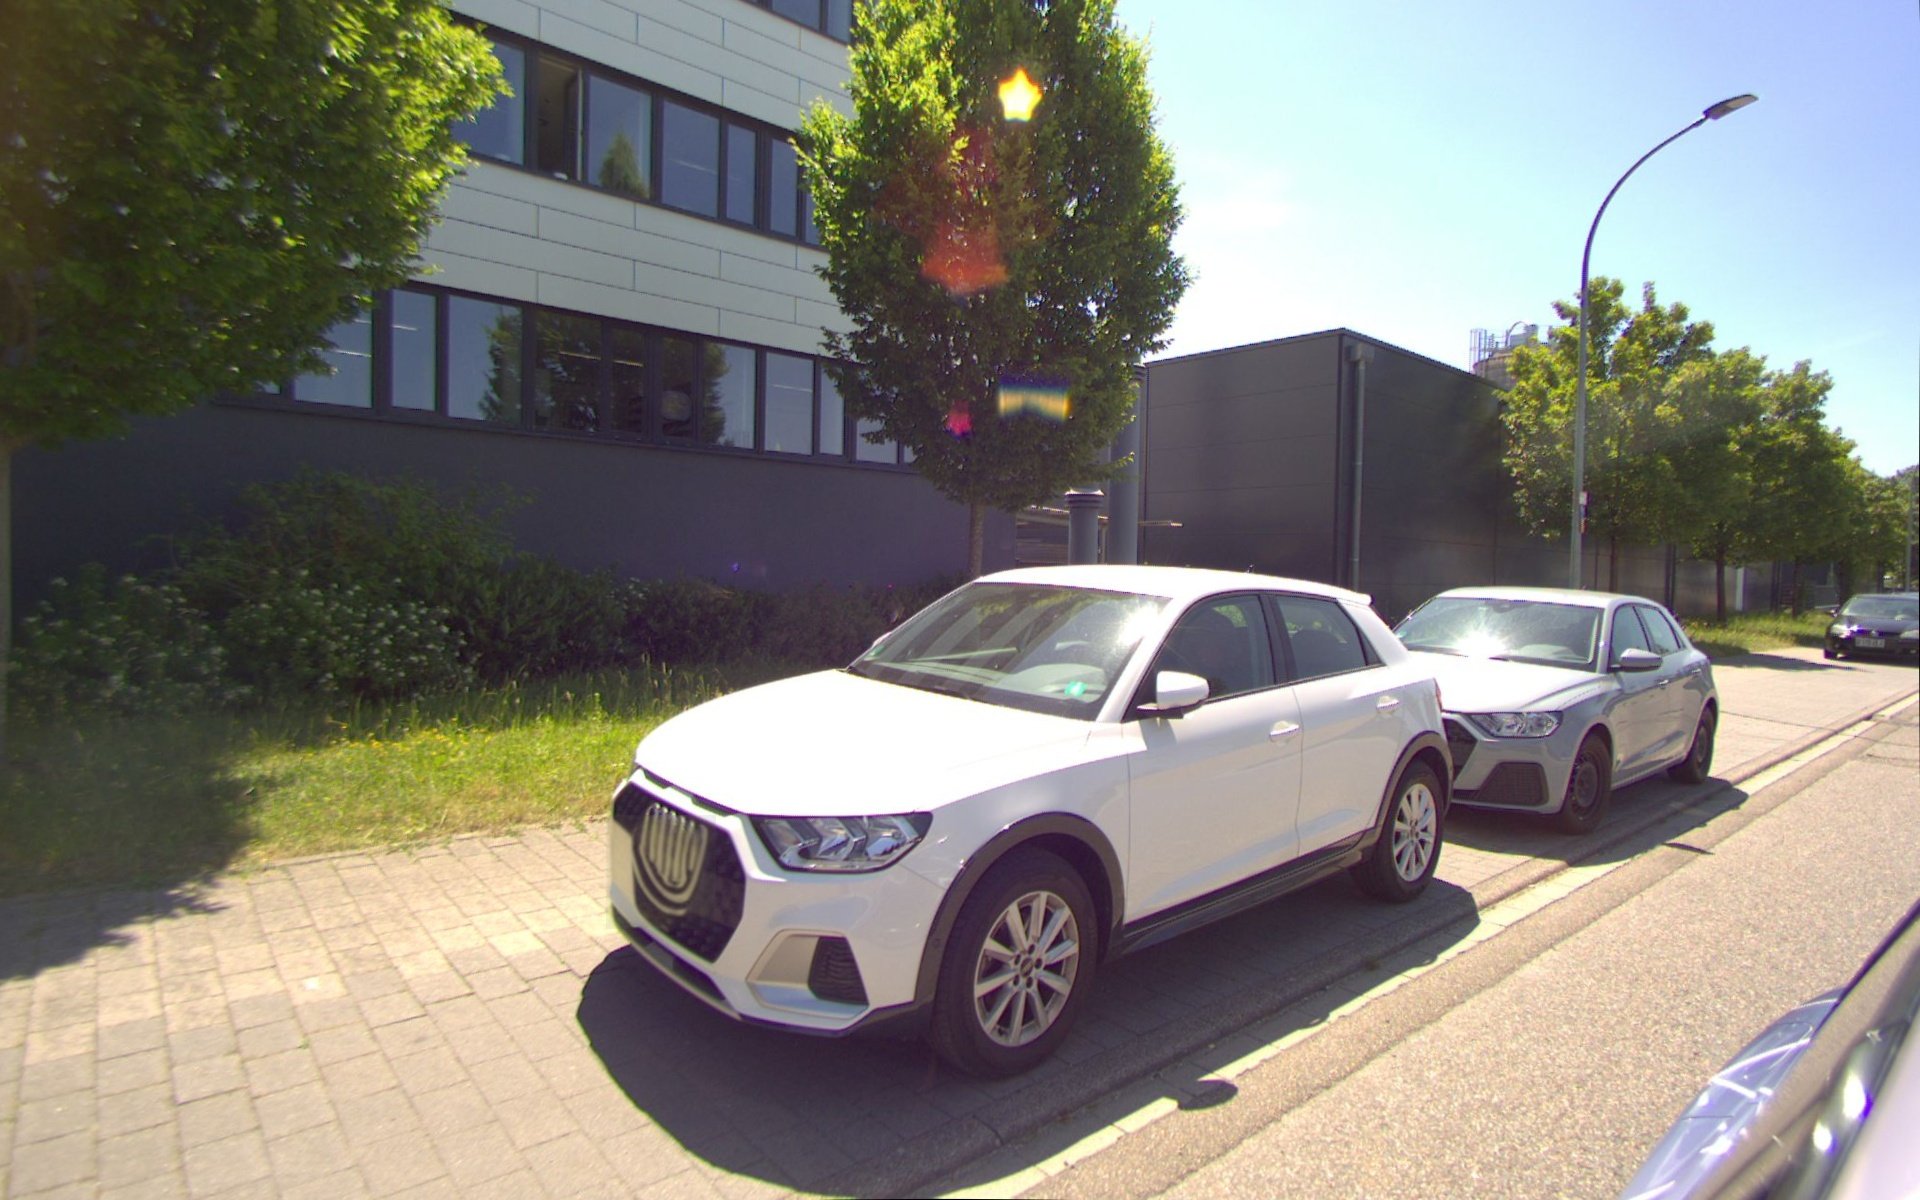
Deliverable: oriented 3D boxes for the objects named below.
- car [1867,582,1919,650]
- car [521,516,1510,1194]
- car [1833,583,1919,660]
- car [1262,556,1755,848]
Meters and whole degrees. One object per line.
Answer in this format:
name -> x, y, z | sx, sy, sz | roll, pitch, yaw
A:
car -> 25.364, 0.417, 26.520 | 4.633, 1.637, 1.811 | 0, 4, -42
car -> 0.519, 0.528, 4.205 | 3.960, 1.498, 1.720 | 0, 5, -41
car -> 20.784, 0.439, 22.345 | 4.195, 1.494, 1.695 | 0, 4, -42
car -> 4.034, 0.506, 7.189 | 3.881, 1.440, 1.720 | 0, 5, -41
